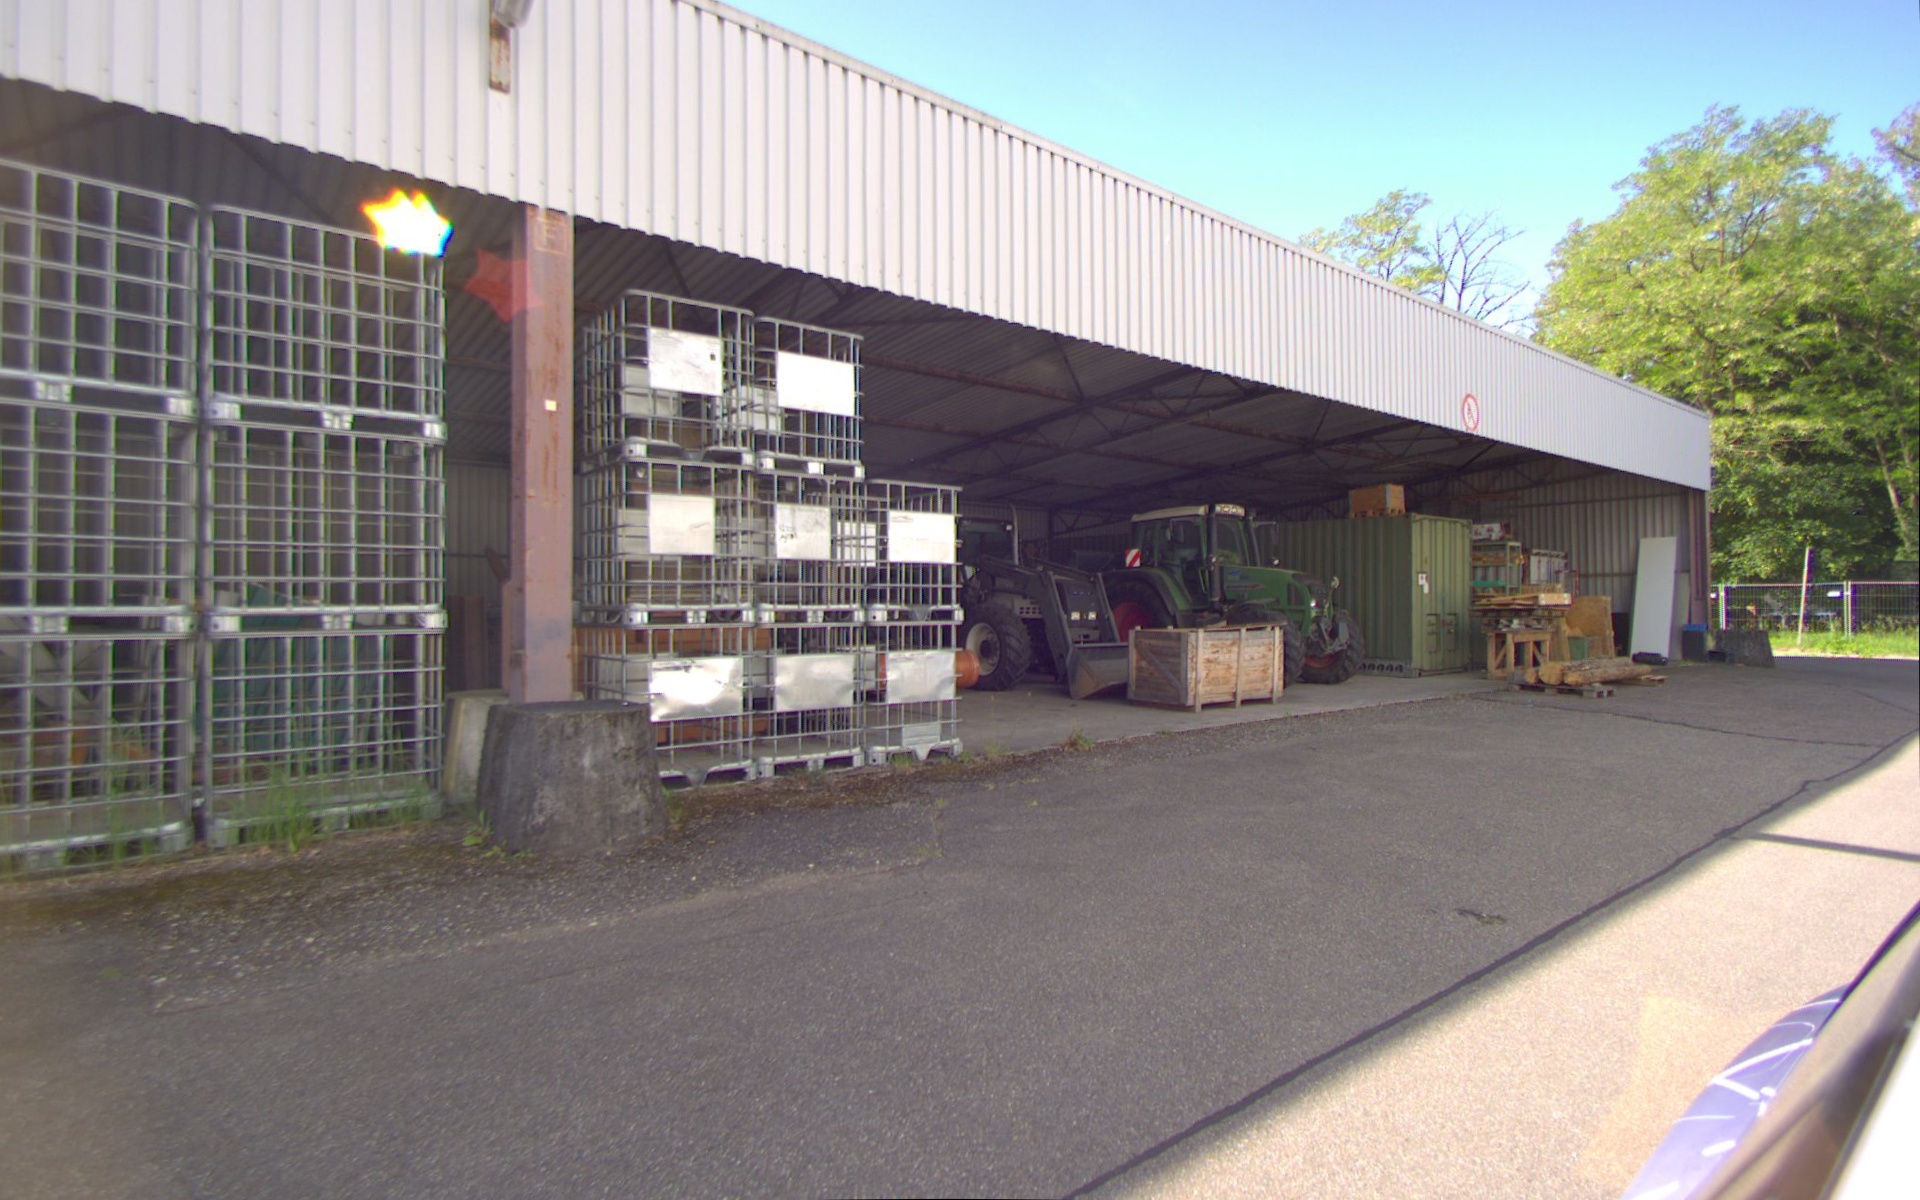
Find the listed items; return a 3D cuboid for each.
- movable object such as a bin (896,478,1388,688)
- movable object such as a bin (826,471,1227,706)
[{"bbox_3d":[2.733,-0.177,18.793,3.153,2.947,9.213,0,-1,-38],"label":"movable object such as a bin"},{"bbox_3d":[0.756,-0.108,16.074,2.961,2.947,6.199,0,-1,-38],"label":"movable object such as a bin"}]
